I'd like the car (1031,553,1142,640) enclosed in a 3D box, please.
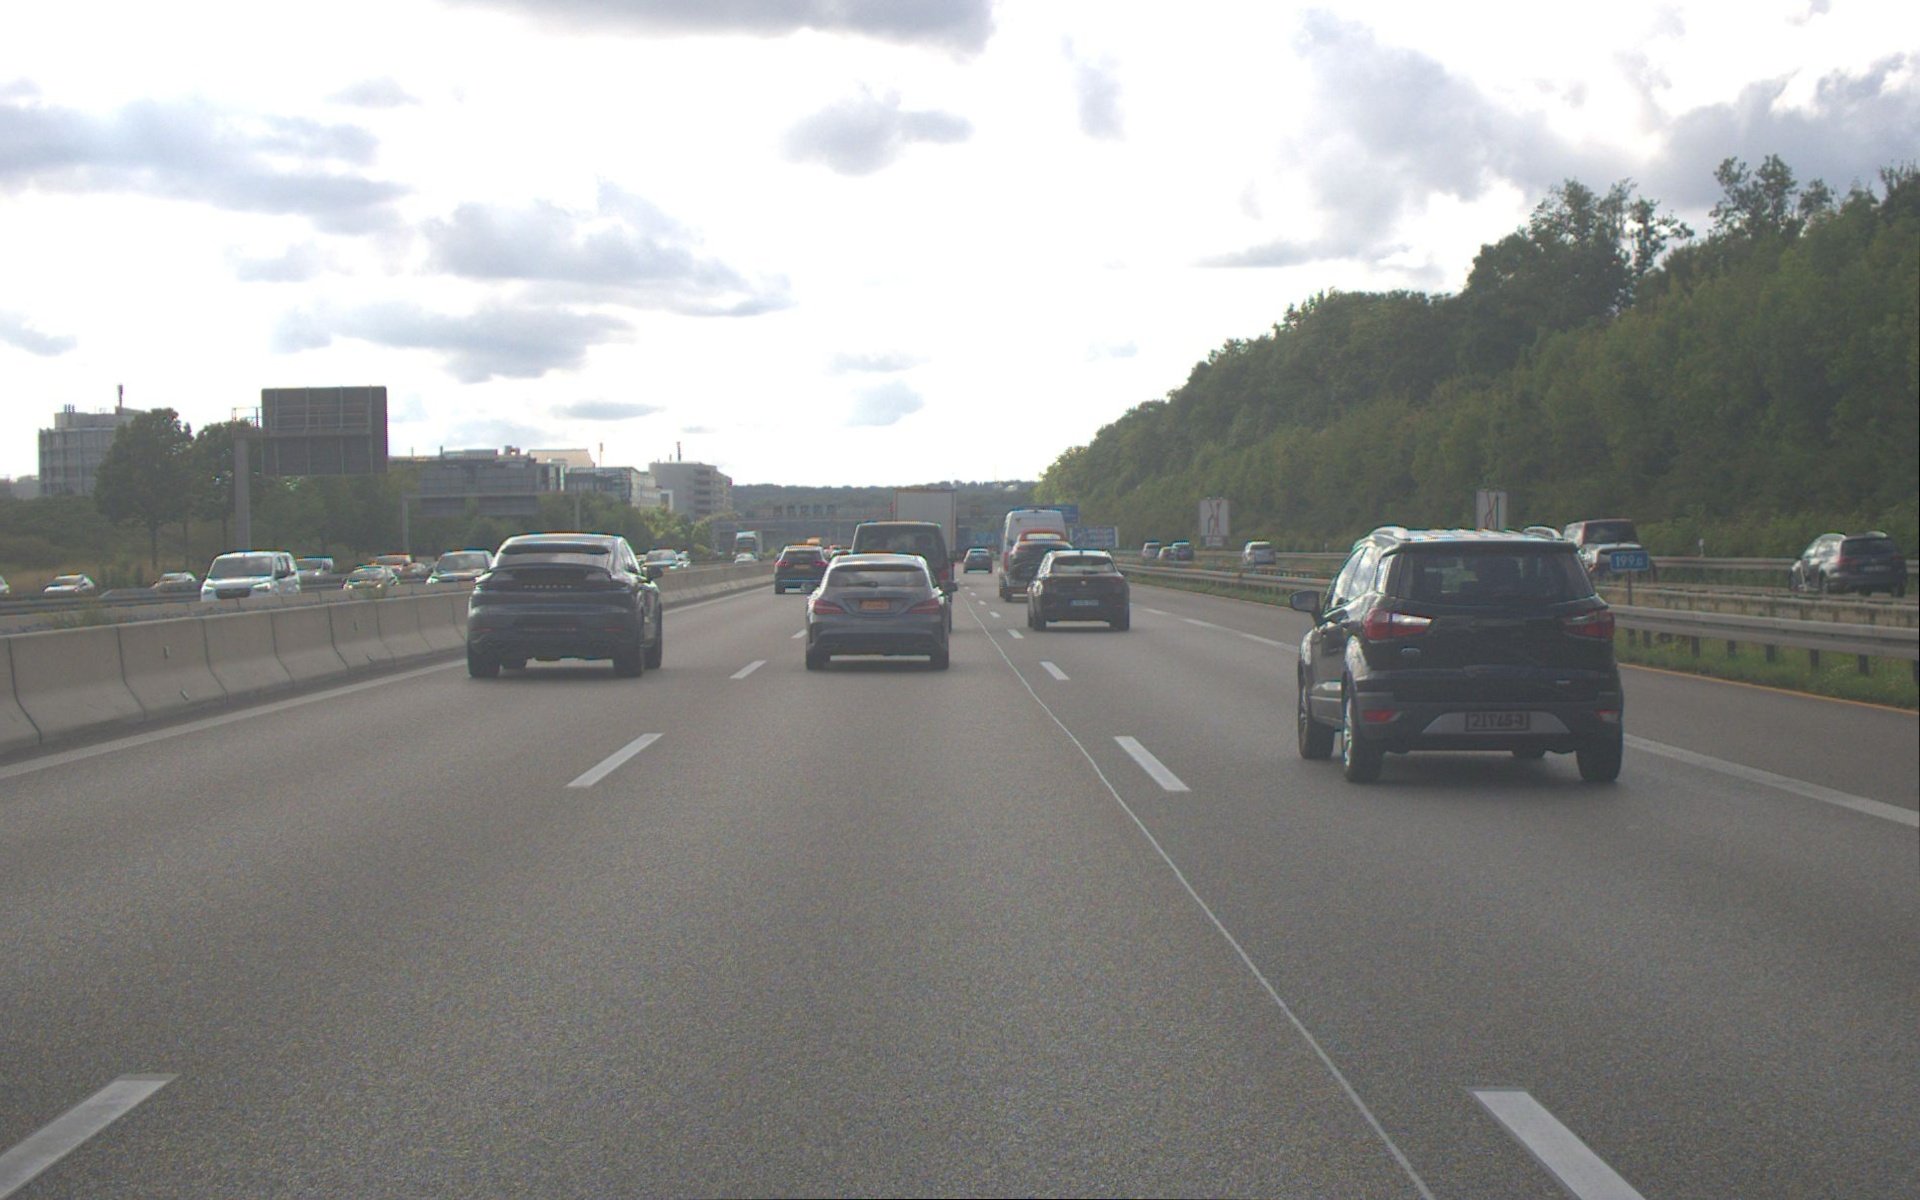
[{"bbox_3d":[2.286,-0.096,63.150,1.832,1.516,4.225,0,1,-1],"label":"car"}]

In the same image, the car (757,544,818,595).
[{"bbox_3d":[-5.742,-1.031,114.954,1.873,1.692,4.072,0,1,-1],"label":"car"}]

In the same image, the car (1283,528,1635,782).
[{"bbox_3d":[3.272,0.304,23.263,1.697,1.559,4.114,0,1,-1],"label":"car"}]

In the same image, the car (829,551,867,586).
[{"bbox_3d":[-5.199,-1.470,160.207,1.697,1.605,4.114,0,1,-1],"label":"car"}]

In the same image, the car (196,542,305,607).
[{"bbox_3d":[-17.521,-0.654,85.066,1.763,1.527,4.943,0,1,-1],"label":"car"}]

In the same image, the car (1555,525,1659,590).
[{"bbox_3d":[15.703,-1.034,83.621,1.595,1.540,4.191,0,1,-2],"label":"car"}]

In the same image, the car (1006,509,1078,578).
[{"bbox_3d":[2.300,-1.612,97.343,1.913,1.912,4.031,0,1,-1],"label":"car"}]

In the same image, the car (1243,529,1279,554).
[{"bbox_3d":[18.411,-3.594,210.562,1.752,1.511,4.191,0,1,-2],"label":"car"}]

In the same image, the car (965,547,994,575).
[{"bbox_3d":[1.205,-2.425,212.879,1.752,1.689,4.190,0,1,-1],"label":"car"}]

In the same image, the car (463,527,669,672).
[{"bbox_3d":[-4.665,-0.062,41.417,1.912,1.630,5.500,0,1,-1],"label":"car"}]

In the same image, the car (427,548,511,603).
[{"bbox_3d":[-14.166,-0.723,99.418,1.763,1.527,4.943,0,1,-1],"label":"car"}]

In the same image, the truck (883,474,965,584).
[{"bbox_3d":[-1.490,-2.961,143.922,3.263,4.360,11.027,1,1,-1],"label":"truck"}]

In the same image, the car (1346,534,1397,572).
[{"bbox_3d":[18.413,-2.109,153.953,1.752,1.689,4.190,0,1,-1],"label":"car"}]

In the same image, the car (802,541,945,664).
[{"bbox_3d":[-1.066,-0.009,43.491,1.720,1.474,4.392,0,1,-1],"label":"car"}]

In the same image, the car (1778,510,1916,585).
[{"bbox_3d":[19.465,-1.172,75.587,1.728,1.540,4.306,-2,1,-2],"label":"car"}]

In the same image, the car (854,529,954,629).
[{"bbox_3d":[-0.998,-0.403,61.582,1.720,1.718,4.392,0,1,-1],"label":"car"}]

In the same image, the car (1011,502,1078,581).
[{"bbox_3d":[2.544,-1.767,104.123,1.873,2.349,4.282,0,1,-1],"label":"car"}]

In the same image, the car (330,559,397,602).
[{"bbox_3d":[-22.176,-0.728,127.964,1.763,1.527,4.717,0,1,-1],"label":"car"}]

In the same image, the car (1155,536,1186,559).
[{"bbox_3d":[14.246,-3.574,232.854,1.729,1.528,4.453,-1,1,-1],"label":"car"}]
